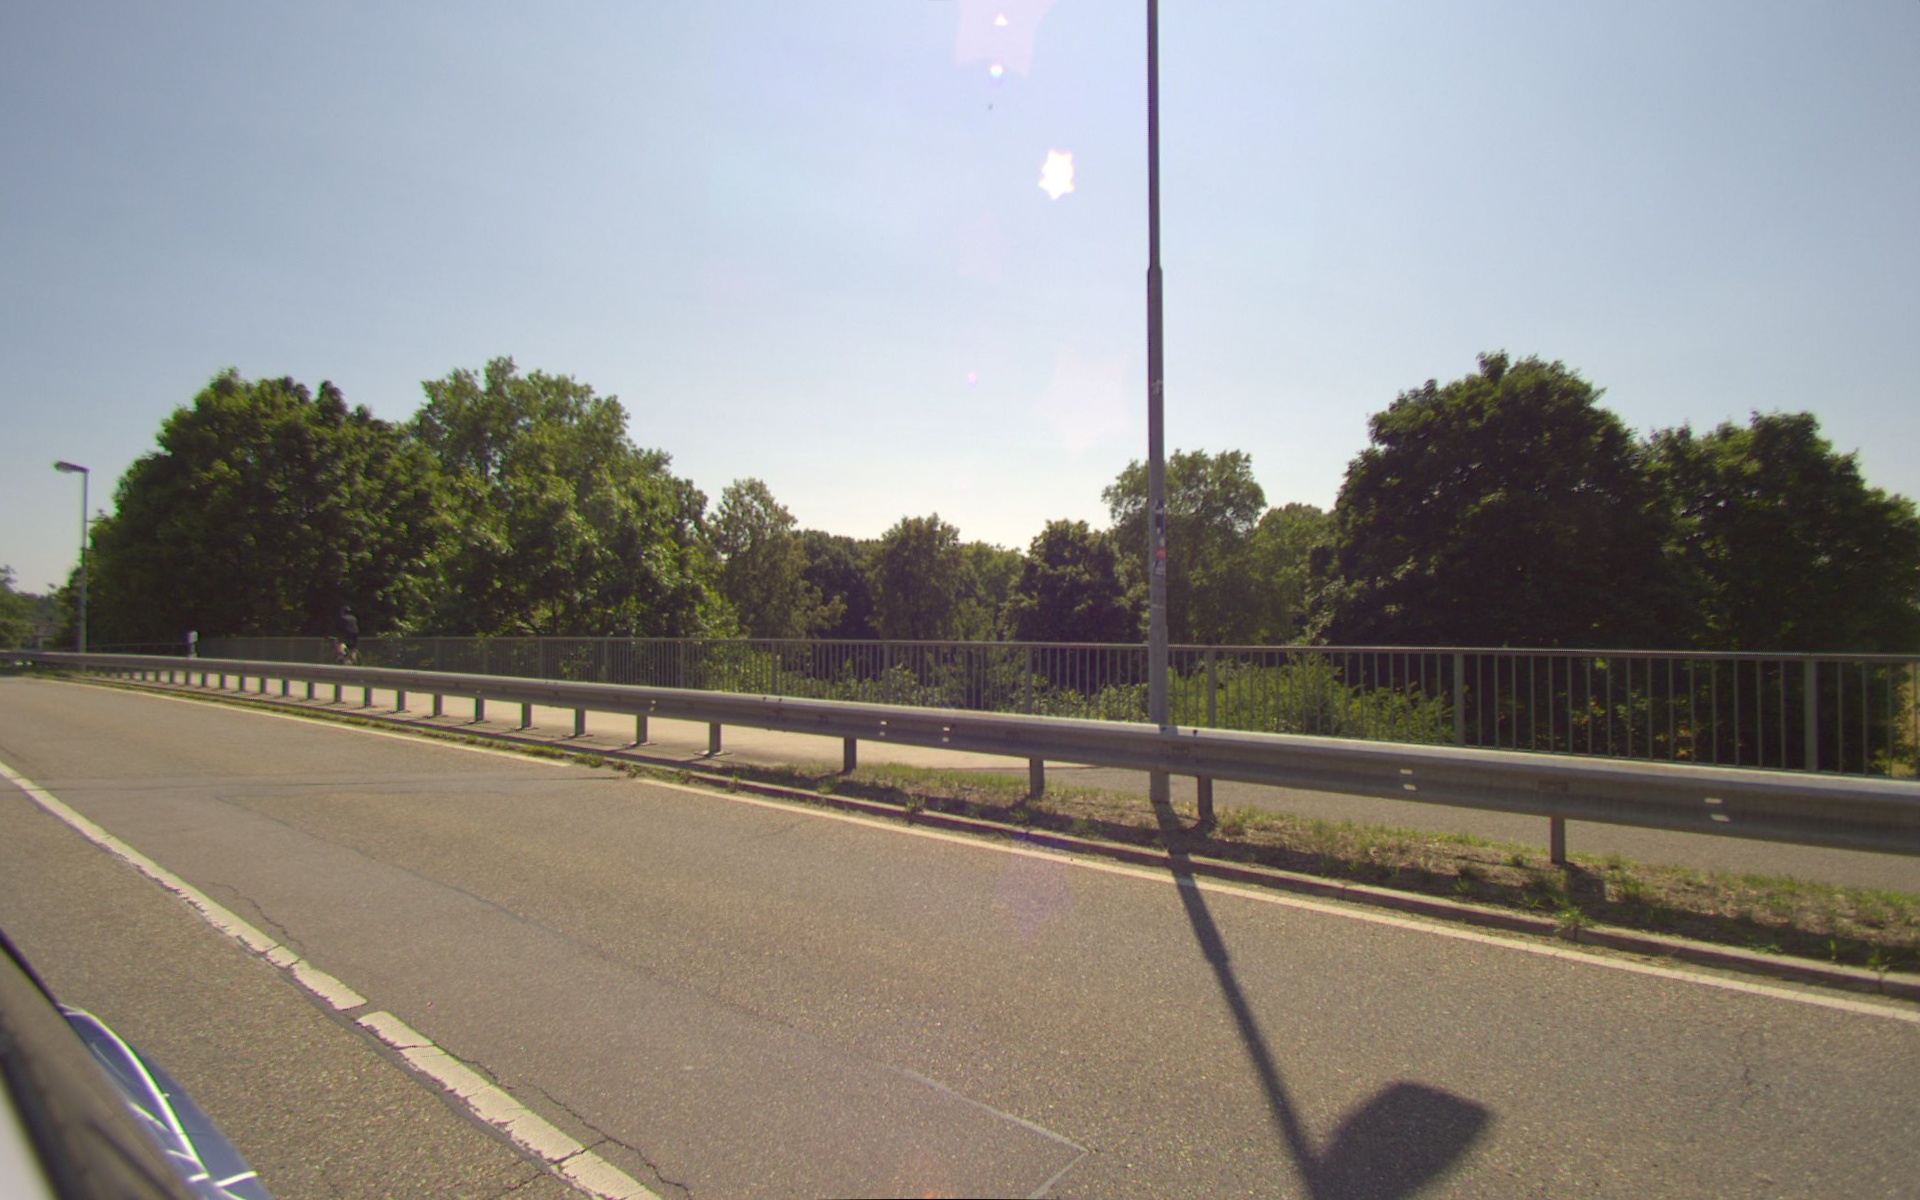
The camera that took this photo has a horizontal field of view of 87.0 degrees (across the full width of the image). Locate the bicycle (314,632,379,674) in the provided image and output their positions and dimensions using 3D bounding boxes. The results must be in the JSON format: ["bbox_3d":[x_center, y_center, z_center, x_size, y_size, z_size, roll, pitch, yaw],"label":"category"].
[{"bbox_3d":[-15.282,1.315,25.189,2.115,1.009,0.671,-3,-3,38],"label":"bicycle"}]

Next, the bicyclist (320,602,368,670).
[{"bbox_3d":[-15.308,0.895,25.148,0.894,1.646,0.758,-3,-3,38],"label":"bicyclist"}]
